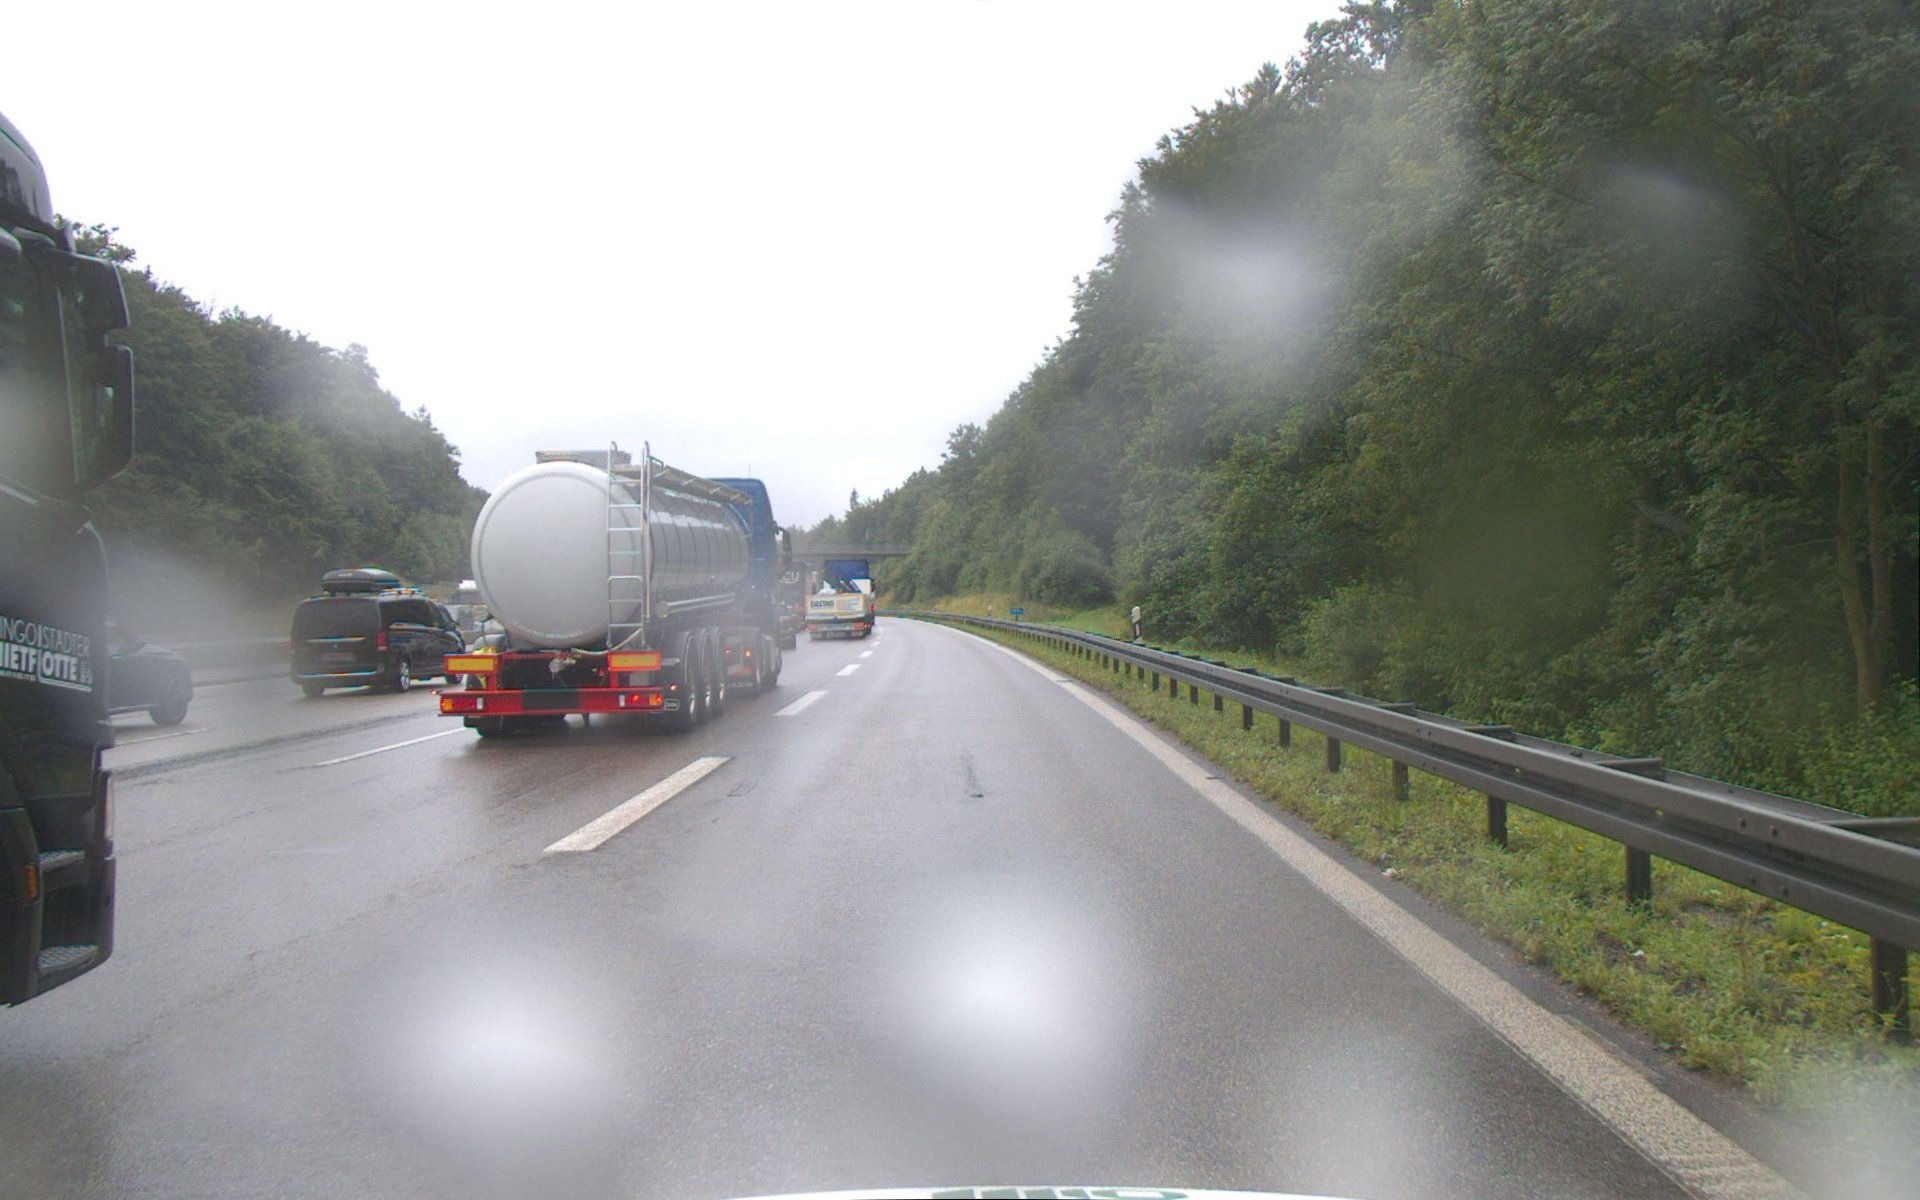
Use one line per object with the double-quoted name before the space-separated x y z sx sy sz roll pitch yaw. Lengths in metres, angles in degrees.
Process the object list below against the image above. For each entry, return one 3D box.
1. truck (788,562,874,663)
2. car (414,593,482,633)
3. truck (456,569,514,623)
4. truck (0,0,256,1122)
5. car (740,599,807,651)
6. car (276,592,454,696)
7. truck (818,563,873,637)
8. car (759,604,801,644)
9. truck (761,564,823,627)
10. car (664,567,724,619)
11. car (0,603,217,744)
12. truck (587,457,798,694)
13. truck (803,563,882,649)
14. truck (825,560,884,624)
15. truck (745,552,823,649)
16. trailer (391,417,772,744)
"truck" -5.776 0.541 75.882 3.528 4.177 11.553 -1 0 -3
"car" -27.417 0.730 88.758 2.010 1.911 5.246 2 -2 -1
"truck" -36.265 -0.263 126.437 2.400 4.017 7.237 0 0 -1
"truck" -4.150 -0.393 0.264 2.772 3.651 11.798 -2 -1 1
"car" -6.550 0.919 58.559 1.953 1.665 3.998 3 -2 -1
"car" -11.321 0.795 31.772 1.953 1.830 4.153 -1 0 -1
"truck" -9.649 0.115 140.813 4.250 5.865 9.723 3 -2 -3
"car" -9.723 1.322 89.560 1.757 2.049 3.998 2 -2 -1
"truck" -12.052 -0.215 119.664 3.504 4.167 10.875 -1 -2 -1
"car" -10.706 -0.250 66.872 1.760 1.870 3.998 2 -2 -1
"car" -11.710 0.868 21.530 1.953 1.622 4.807 -1 0 -1
"truck" -4.535 -0.397 29.031 2.818 3.758 5.056 -1 0 0
"truck" -6.406 0.479 91.818 3.435 4.343 10.601 2 -2 0
"truck" -7.532 -0.456 119.707 3.679 4.040 11.054 2 -2 -1
"truck" -10.869 0.187 103.178 3.678 5.596 10.169 2 -2 -1
"trailer" -4.496 -0.200 22.206 2.815 3.346 10.076 -1 0 0
